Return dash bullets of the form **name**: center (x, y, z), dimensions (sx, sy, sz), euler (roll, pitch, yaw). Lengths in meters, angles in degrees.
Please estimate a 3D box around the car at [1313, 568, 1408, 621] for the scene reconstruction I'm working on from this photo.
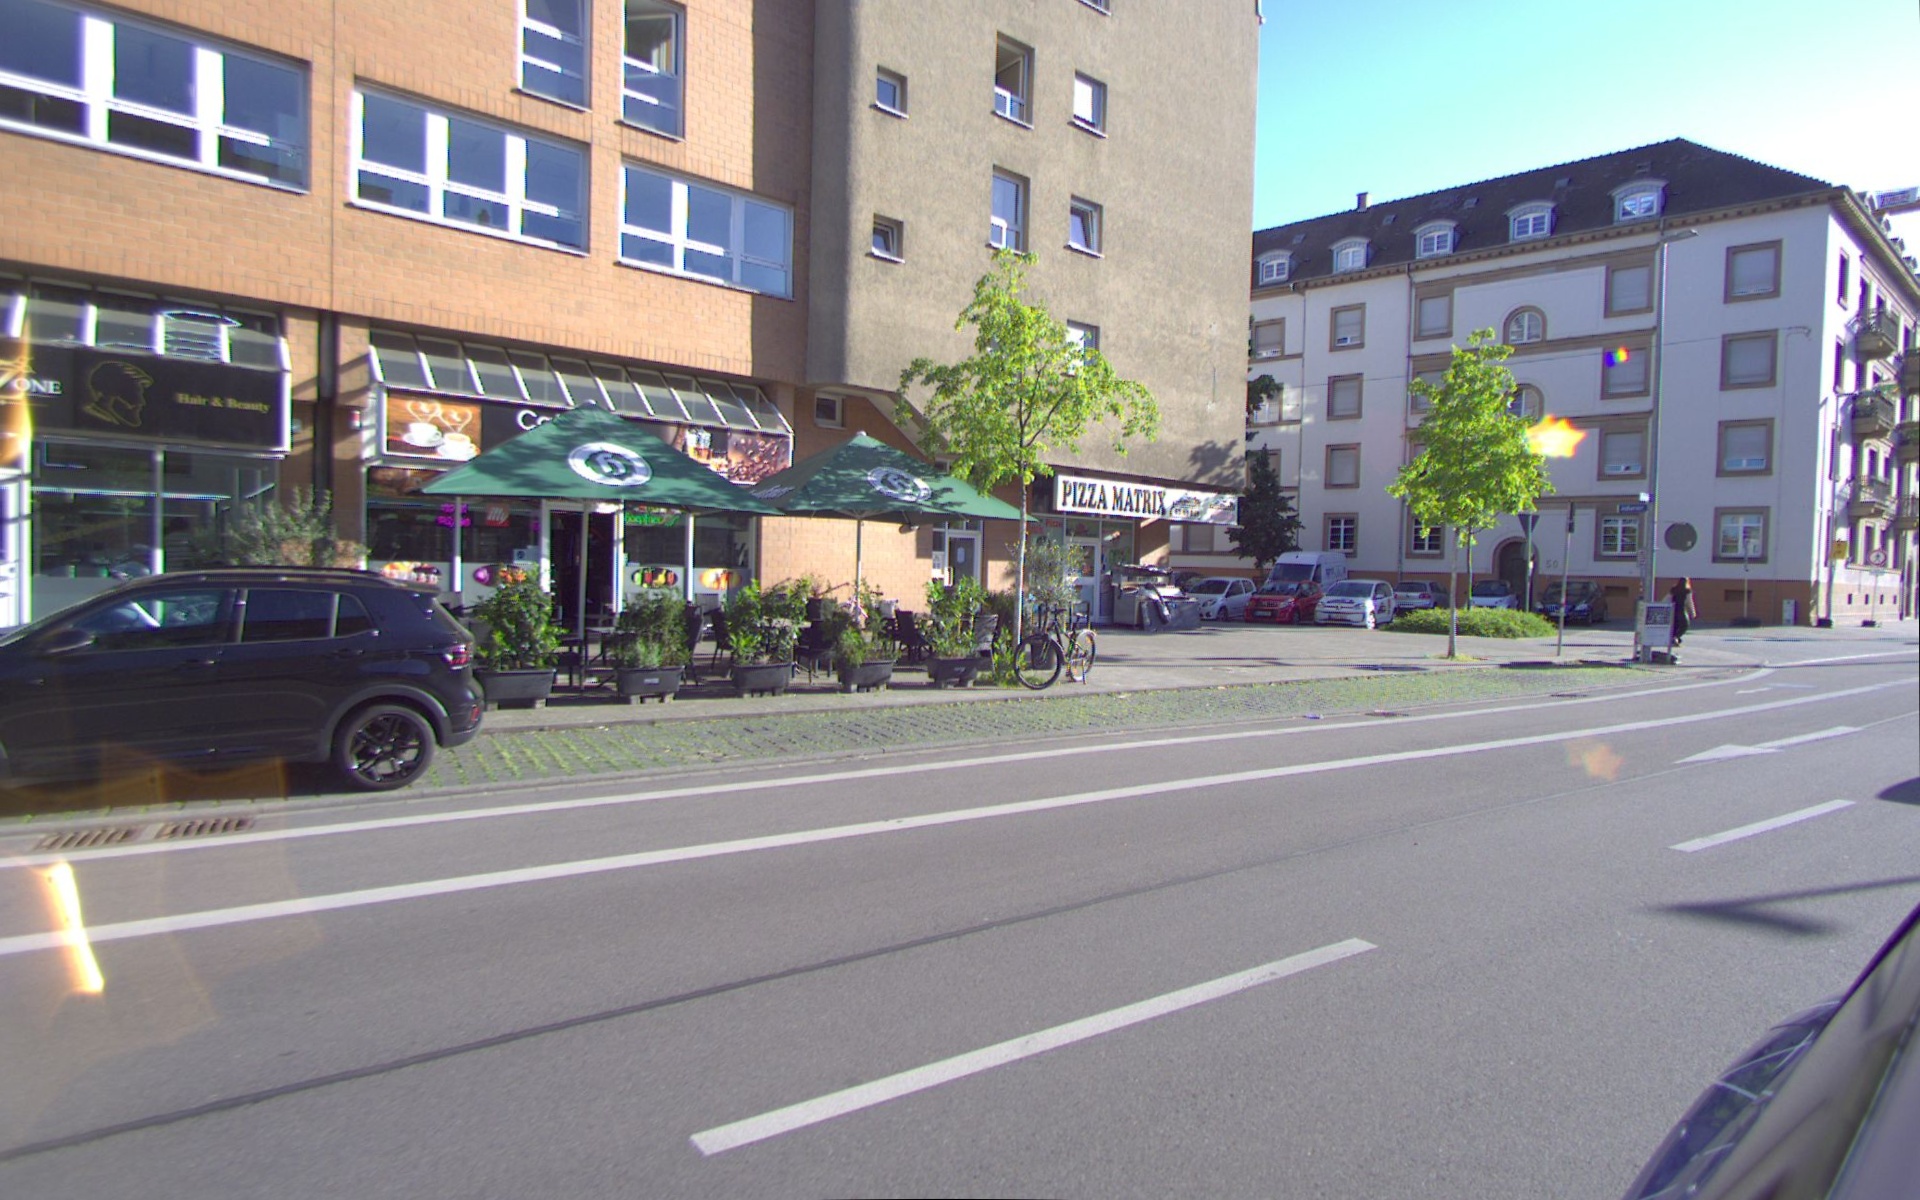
- **car**: center (12.173, -0.161, 30.673), dimensions (1.659, 1.493, 3.783), euler (0, 0, 39)

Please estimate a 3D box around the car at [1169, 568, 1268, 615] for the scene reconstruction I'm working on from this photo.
- **car**: center (8.664, -0.278, 33.756), dimensions (1.632, 1.473, 3.675), euler (0, 0, 44)

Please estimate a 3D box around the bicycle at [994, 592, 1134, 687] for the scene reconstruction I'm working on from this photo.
- **bicycle**: center (1.471, 0.509, 14.029), dimensions (1.965, 1.093, 0.767), euler (-2, 8, -43)

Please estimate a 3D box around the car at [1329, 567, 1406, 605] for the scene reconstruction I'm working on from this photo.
- **car**: center (17.000, -0.600, 42.136), dimensions (1.690, 1.497, 4.376), euler (0, 2, 40)

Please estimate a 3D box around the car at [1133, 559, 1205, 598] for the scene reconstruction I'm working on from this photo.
- **car**: center (9.873, -0.988, 47.642), dimensions (1.538, 1.761, 3.938), euler (0, 0, 43)

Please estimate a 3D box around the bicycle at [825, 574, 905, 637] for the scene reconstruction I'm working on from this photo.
- **bicycle**: center (-1.895, 0.097, 20.331), dimensions (1.511, 1.183, 0.614), euler (0, 3, -43)

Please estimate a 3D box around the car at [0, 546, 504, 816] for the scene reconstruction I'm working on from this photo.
- **car**: center (-5.740, 0.464, 7.431), dimensions (4.149, 1.656, 1.728), euler (0, 3, -33)

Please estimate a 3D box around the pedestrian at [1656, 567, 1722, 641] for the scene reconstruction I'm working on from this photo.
- **pedestrian**: center (18.258, 0.078, 25.350), dimensions (1.083, 1.784, 0.888), euler (-1, 4, -30)

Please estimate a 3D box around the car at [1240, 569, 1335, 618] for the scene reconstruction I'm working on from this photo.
- **car**: center (10.428, -0.208, 32.124), dimensions (1.630, 1.471, 3.602), euler (0, 0, 41)

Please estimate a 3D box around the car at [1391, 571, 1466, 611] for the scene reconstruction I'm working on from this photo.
- **car**: center (18.699, -0.387, 40.321), dimensions (1.690, 1.447, 4.378), euler (0, 2, 39)

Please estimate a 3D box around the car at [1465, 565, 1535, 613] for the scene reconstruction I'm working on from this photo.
- **car**: center (20.761, -0.472, 38.822), dimensions (1.620, 1.707, 4.380), euler (1, 3, 38)

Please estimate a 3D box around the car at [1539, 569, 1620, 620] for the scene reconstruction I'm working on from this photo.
- **car**: center (22.587, -0.254, 36.839), dimensions (1.692, 1.707, 4.373), euler (0, 2, 43)

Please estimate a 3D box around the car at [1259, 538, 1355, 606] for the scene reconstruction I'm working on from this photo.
- **car**: center (14.831, -1.269, 43.031), dimensions (1.920, 2.640, 5.882), euler (2, 5, 39)

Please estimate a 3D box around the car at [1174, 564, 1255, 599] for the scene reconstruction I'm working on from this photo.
- **car**: center (11.561, -0.804, 45.842), dimensions (3.932, 1.509, 1.692), euler (0, 0, -43)
